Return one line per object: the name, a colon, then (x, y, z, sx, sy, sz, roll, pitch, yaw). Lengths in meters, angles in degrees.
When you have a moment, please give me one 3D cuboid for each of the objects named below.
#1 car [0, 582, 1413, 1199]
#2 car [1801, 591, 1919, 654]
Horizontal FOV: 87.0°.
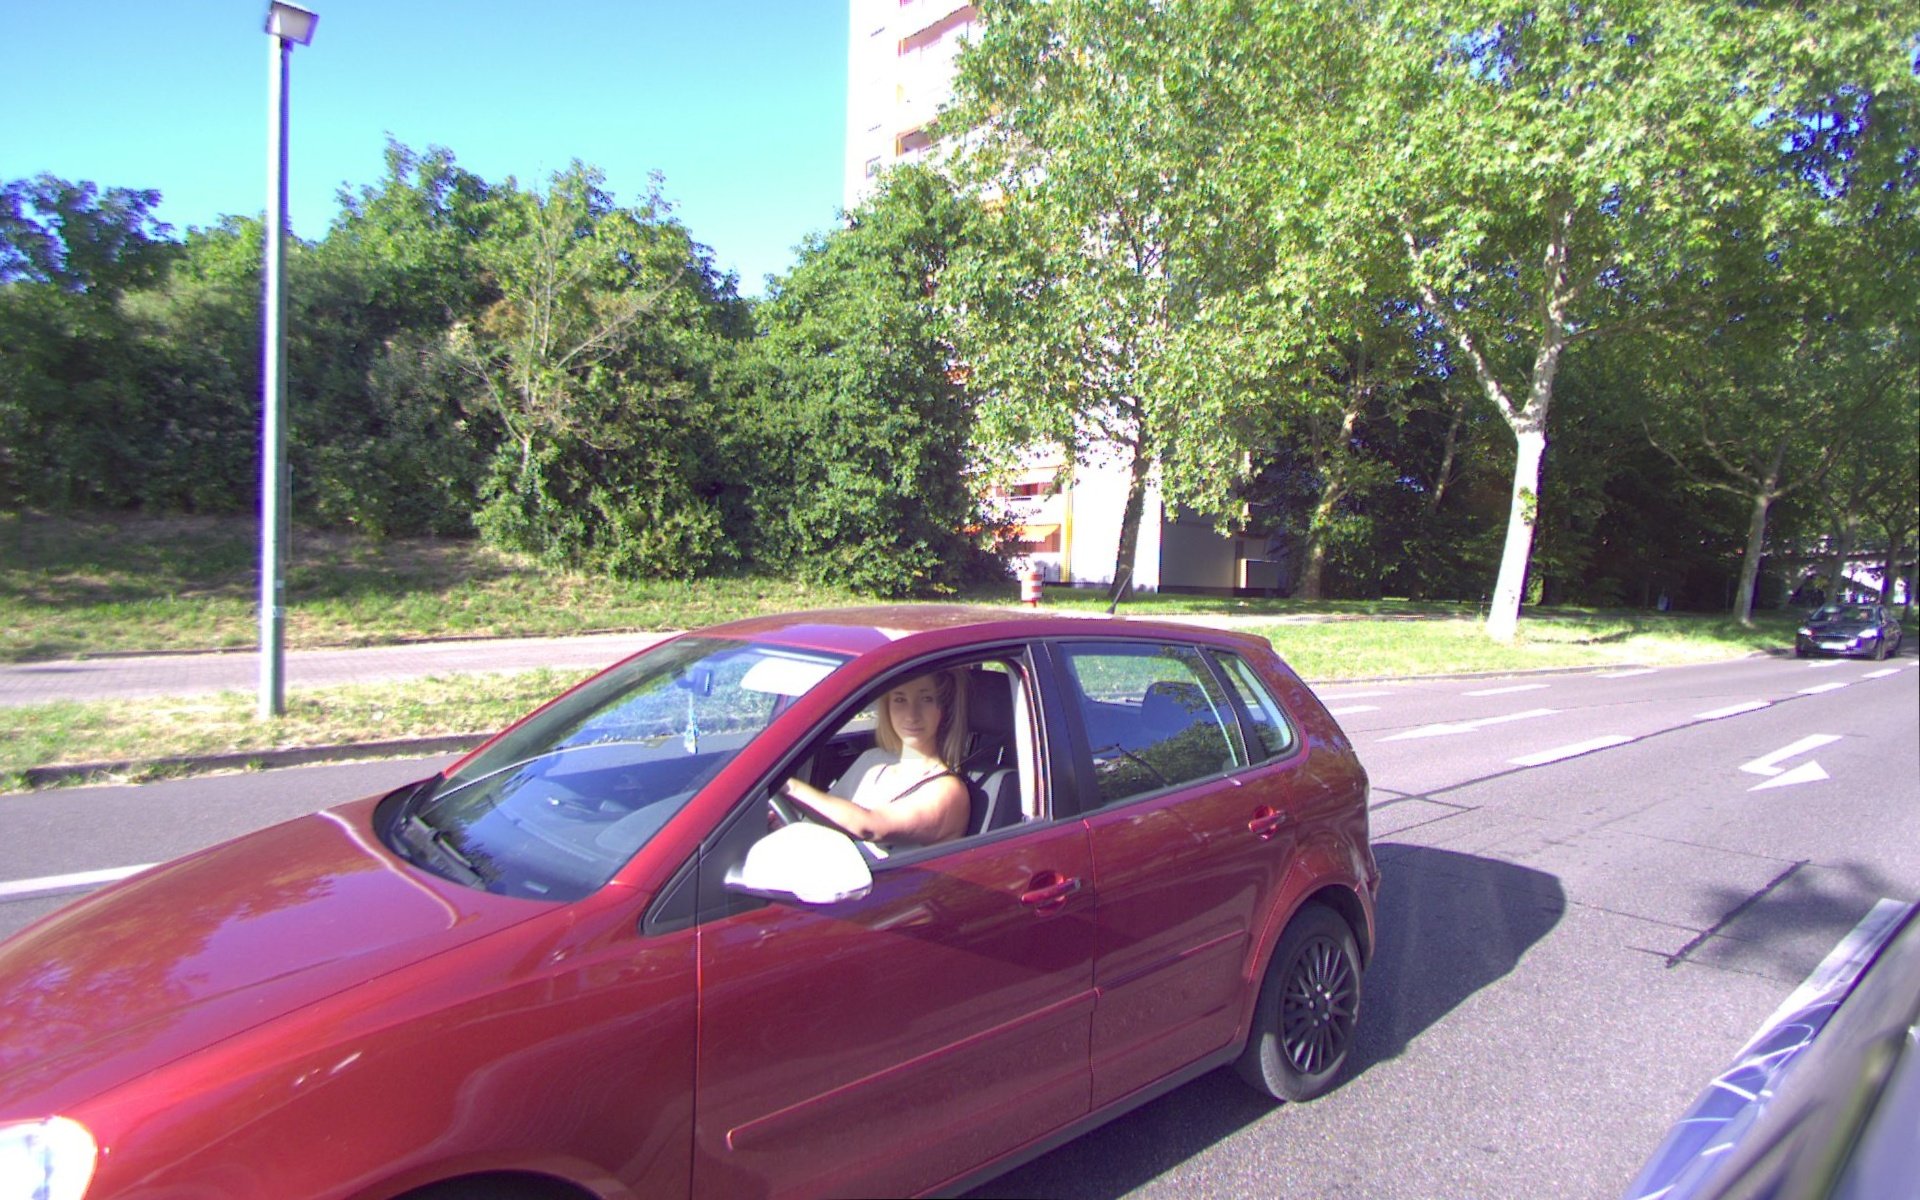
car: (-0.464, 0.691, 2.761, 3.627, 1.434, 1.626, 0, 1, -39)
car: (23.717, 0.541, 26.628, 3.823, 1.487, 1.750, 0, 1, -40)
